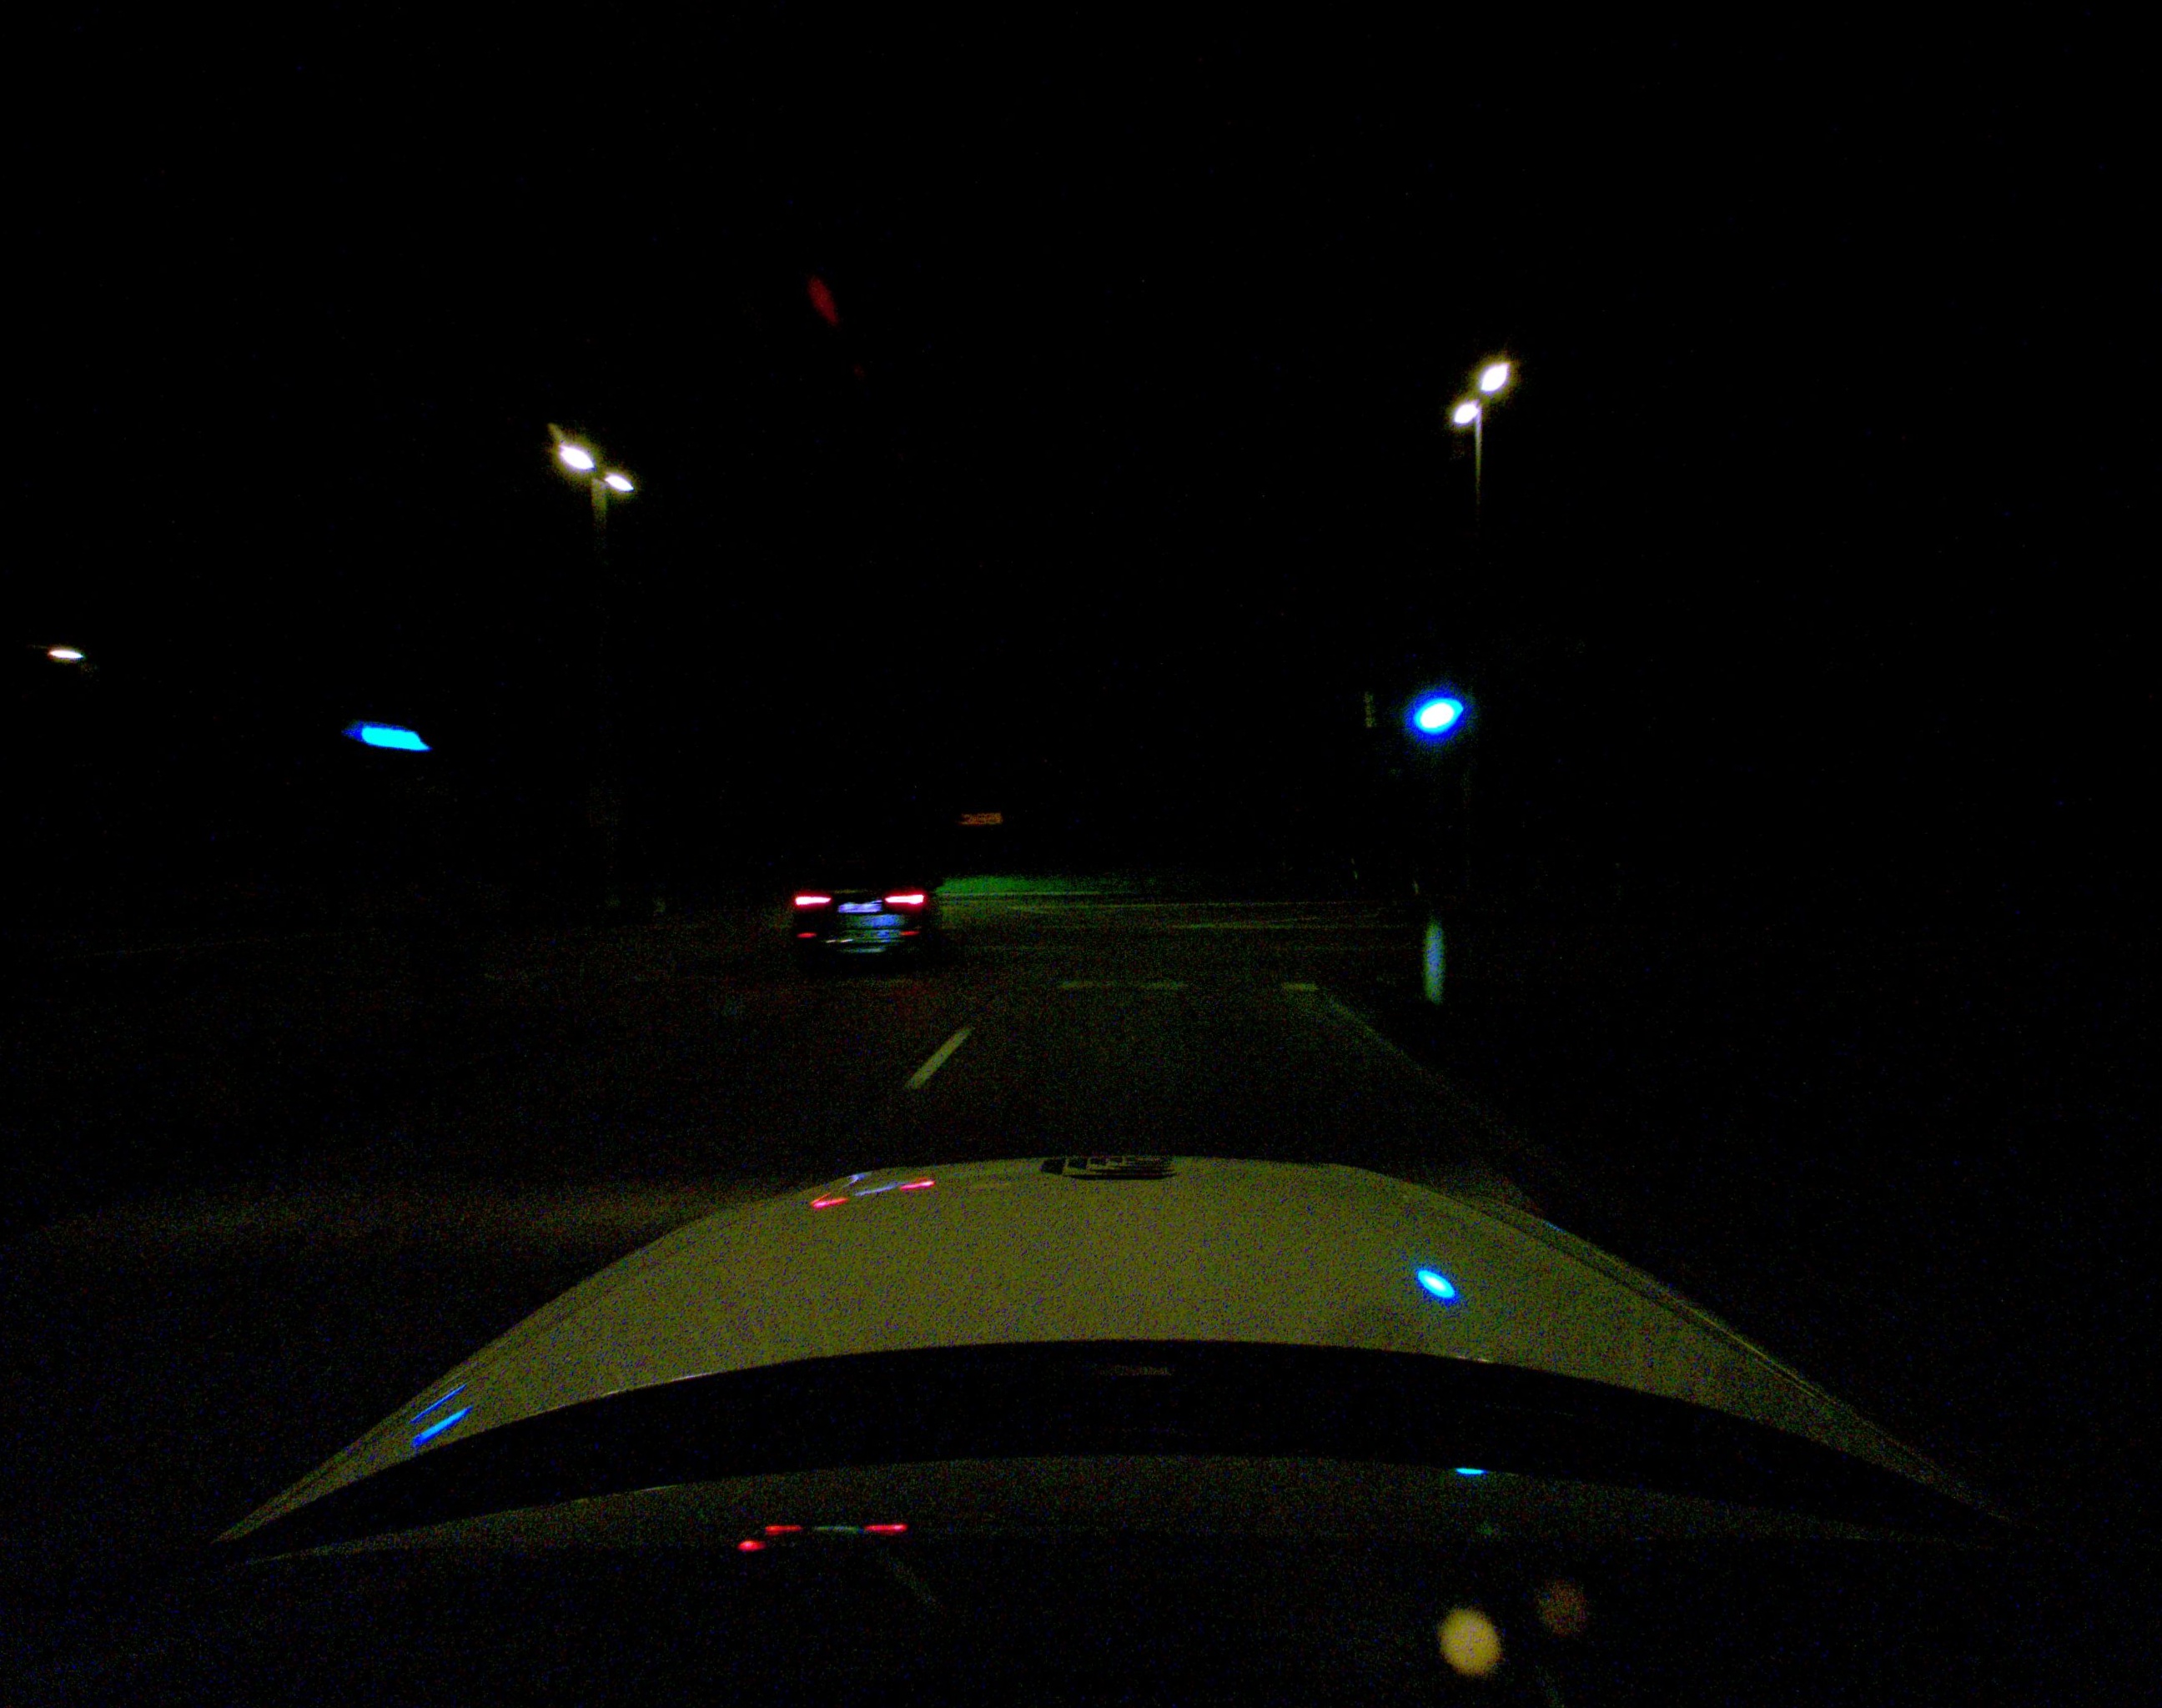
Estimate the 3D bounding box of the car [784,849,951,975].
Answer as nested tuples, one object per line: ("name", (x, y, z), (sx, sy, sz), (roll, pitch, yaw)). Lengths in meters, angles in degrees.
("car", (-3.055, 0.736, 12.462), (1.849, 1.582, 3.999), (-1, 0, -6))
